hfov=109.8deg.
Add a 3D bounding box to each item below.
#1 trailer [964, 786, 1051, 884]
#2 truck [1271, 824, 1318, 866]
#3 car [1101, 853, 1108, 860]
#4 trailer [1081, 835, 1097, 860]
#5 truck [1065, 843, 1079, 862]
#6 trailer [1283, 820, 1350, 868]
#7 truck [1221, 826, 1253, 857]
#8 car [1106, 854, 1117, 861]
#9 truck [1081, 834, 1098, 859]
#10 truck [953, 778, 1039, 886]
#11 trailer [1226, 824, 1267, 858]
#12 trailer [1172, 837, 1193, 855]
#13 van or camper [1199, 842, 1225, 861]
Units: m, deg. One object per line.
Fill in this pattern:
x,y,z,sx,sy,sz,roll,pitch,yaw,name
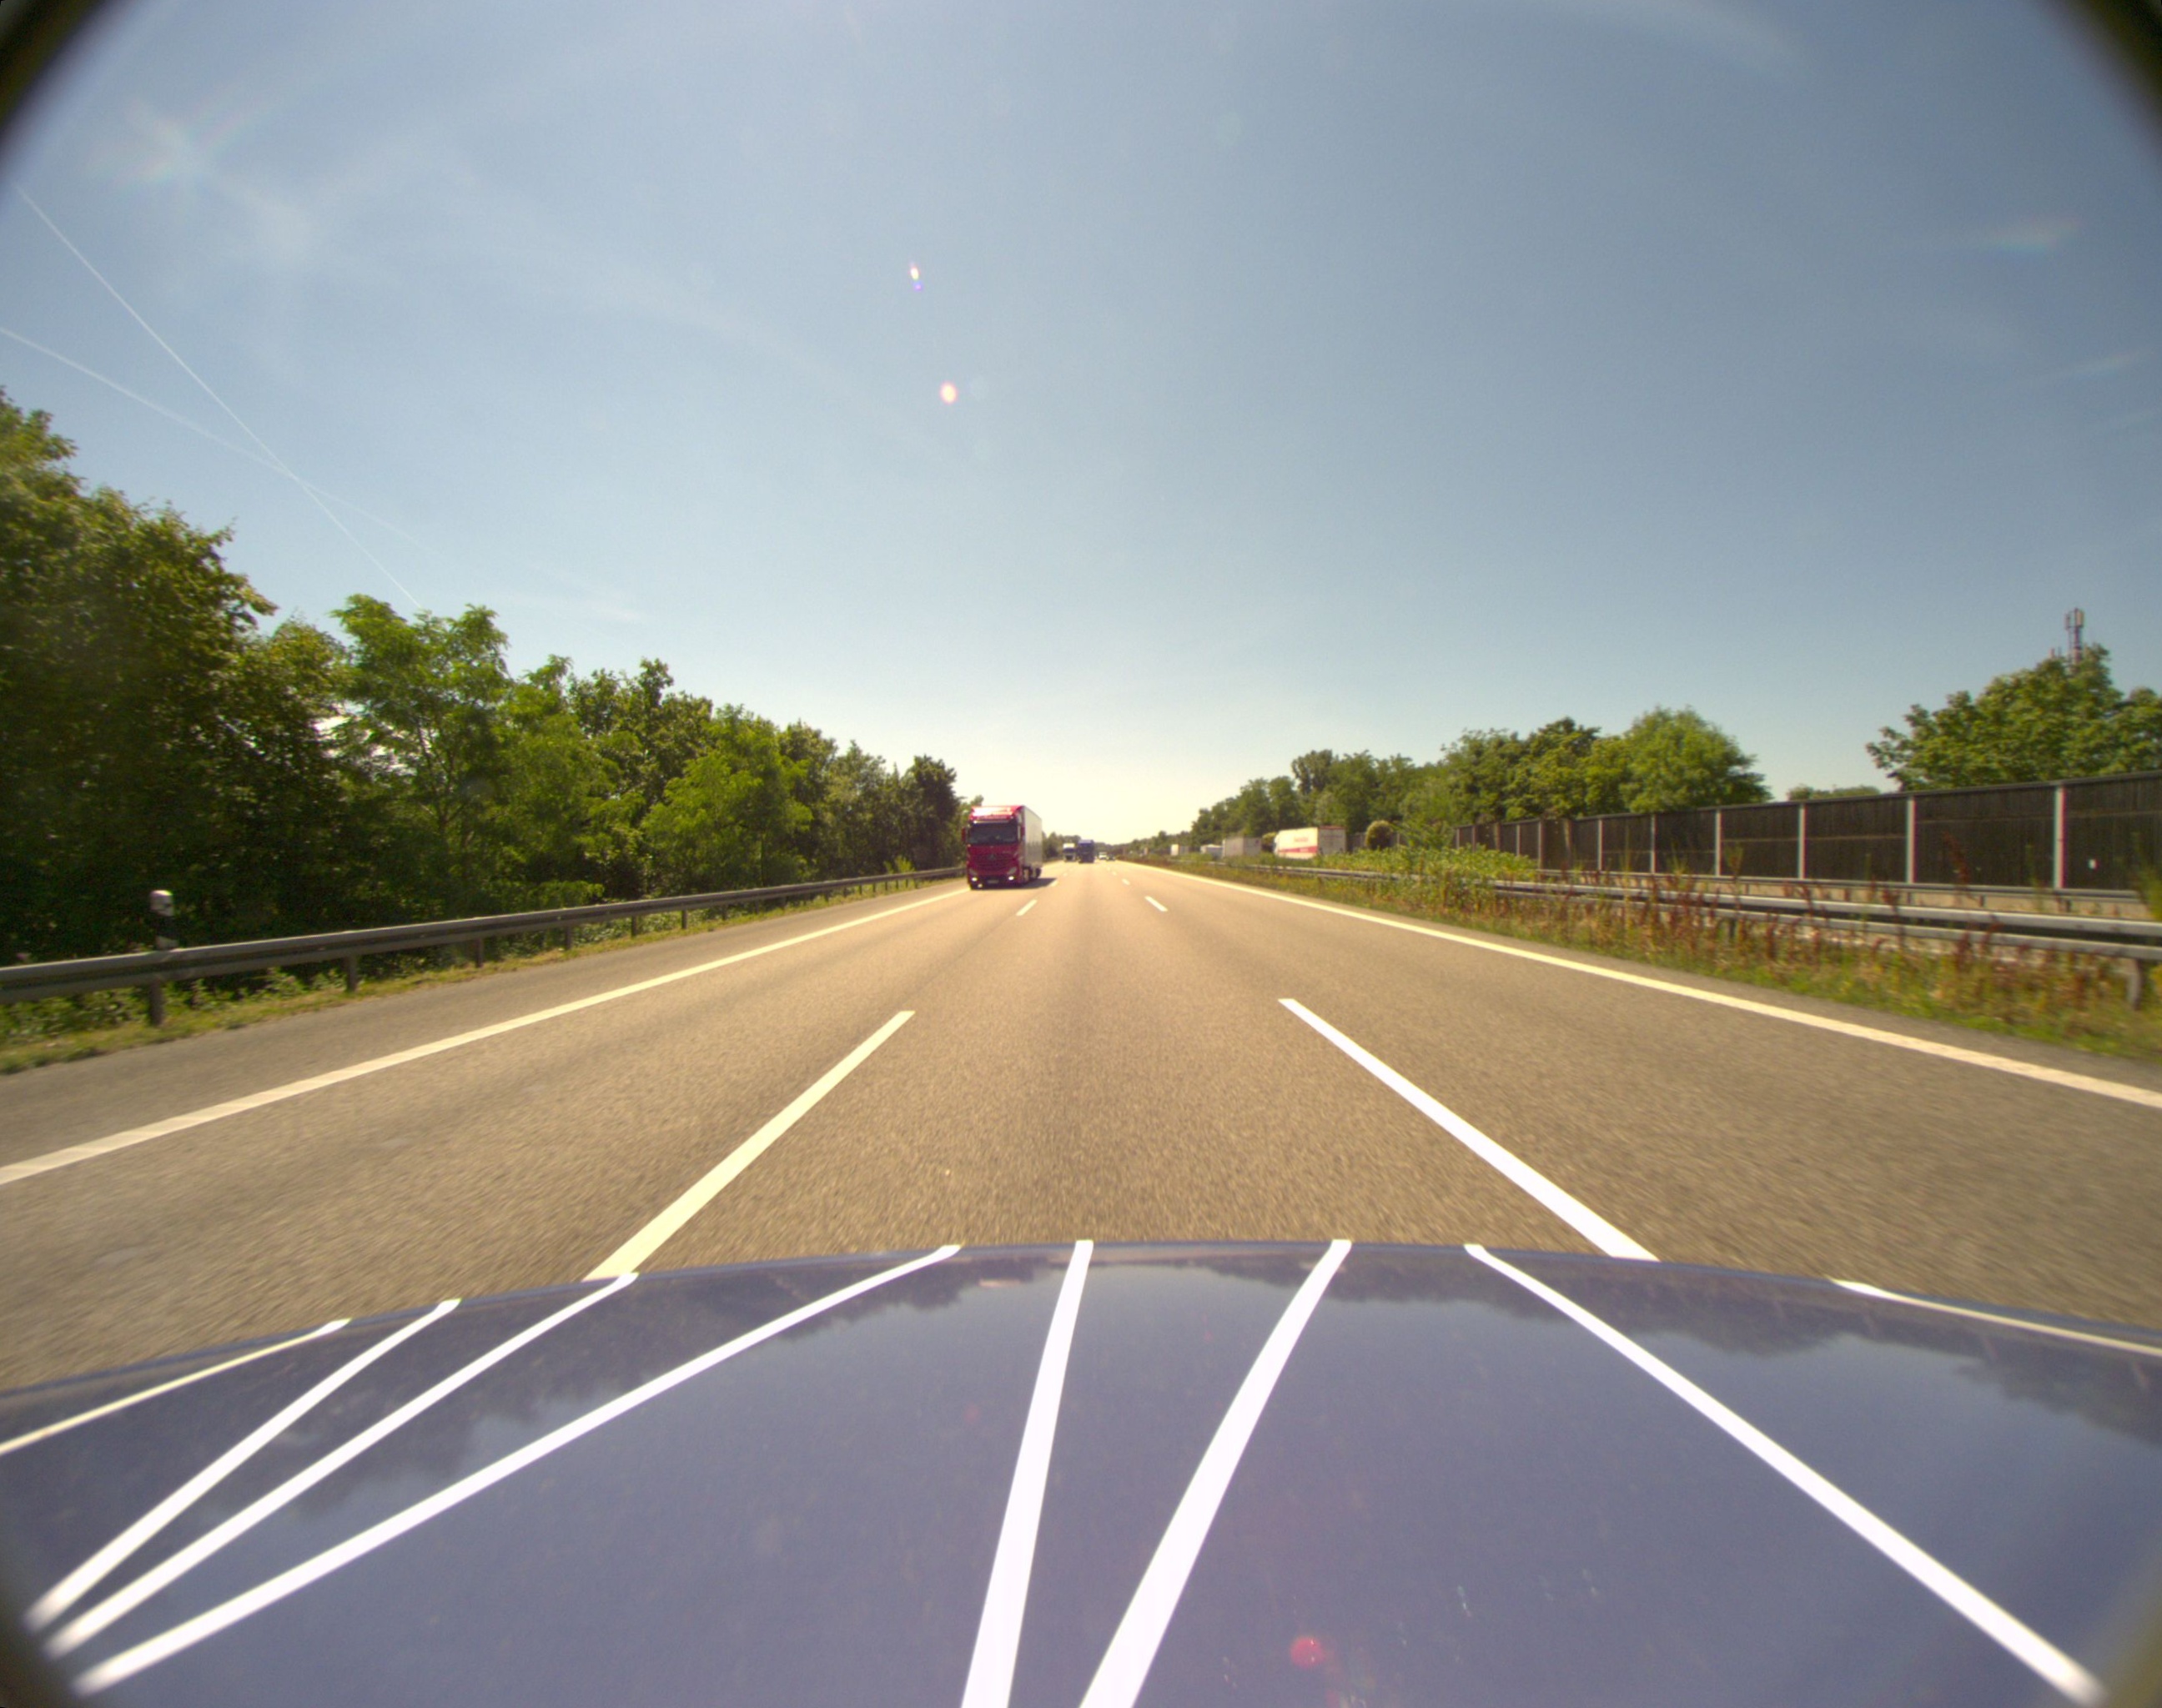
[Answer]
-3.940,-0.880,44.700,3.277,4.809,14.031,-2,0,1,trailer
22.608,-0.869,80.733,2.849,4.182,7.715,-2,0,1,truck
6.083,0.690,199.085,1.855,1.559,4.000,-2,0,1,car
1.400,-1.085,135.954,2.707,4.093,12.132,-2,0,1,trailer
-1.983,-0.267,169.036,2.820,4.138,10.449,-2,0,0,truck
22.477,-0.885,73.518,2.849,4.149,12.221,-2,0,1,trailer
23.541,-1.812,115.172,3.225,4.414,7.870,-1,0,1,truck
6.410,0.742,159.297,2.045,1.559,4.000,-2,0,1,car
1.343,-1.166,129.042,2.707,4.093,6.991,-2,0,0,truck
-4.092,-0.988,38.242,3.242,4.860,6.972,-2,0,1,truck
23.370,-1.792,108.174,3.174,4.451,12.952,-1,0,1,trailer
24.361,-1.903,182.768,3.619,4.079,12.796,0,0,1,trailer
18.766,-0.340,109.130,2.471,2.561,7.411,-1,0,1,van or camper
